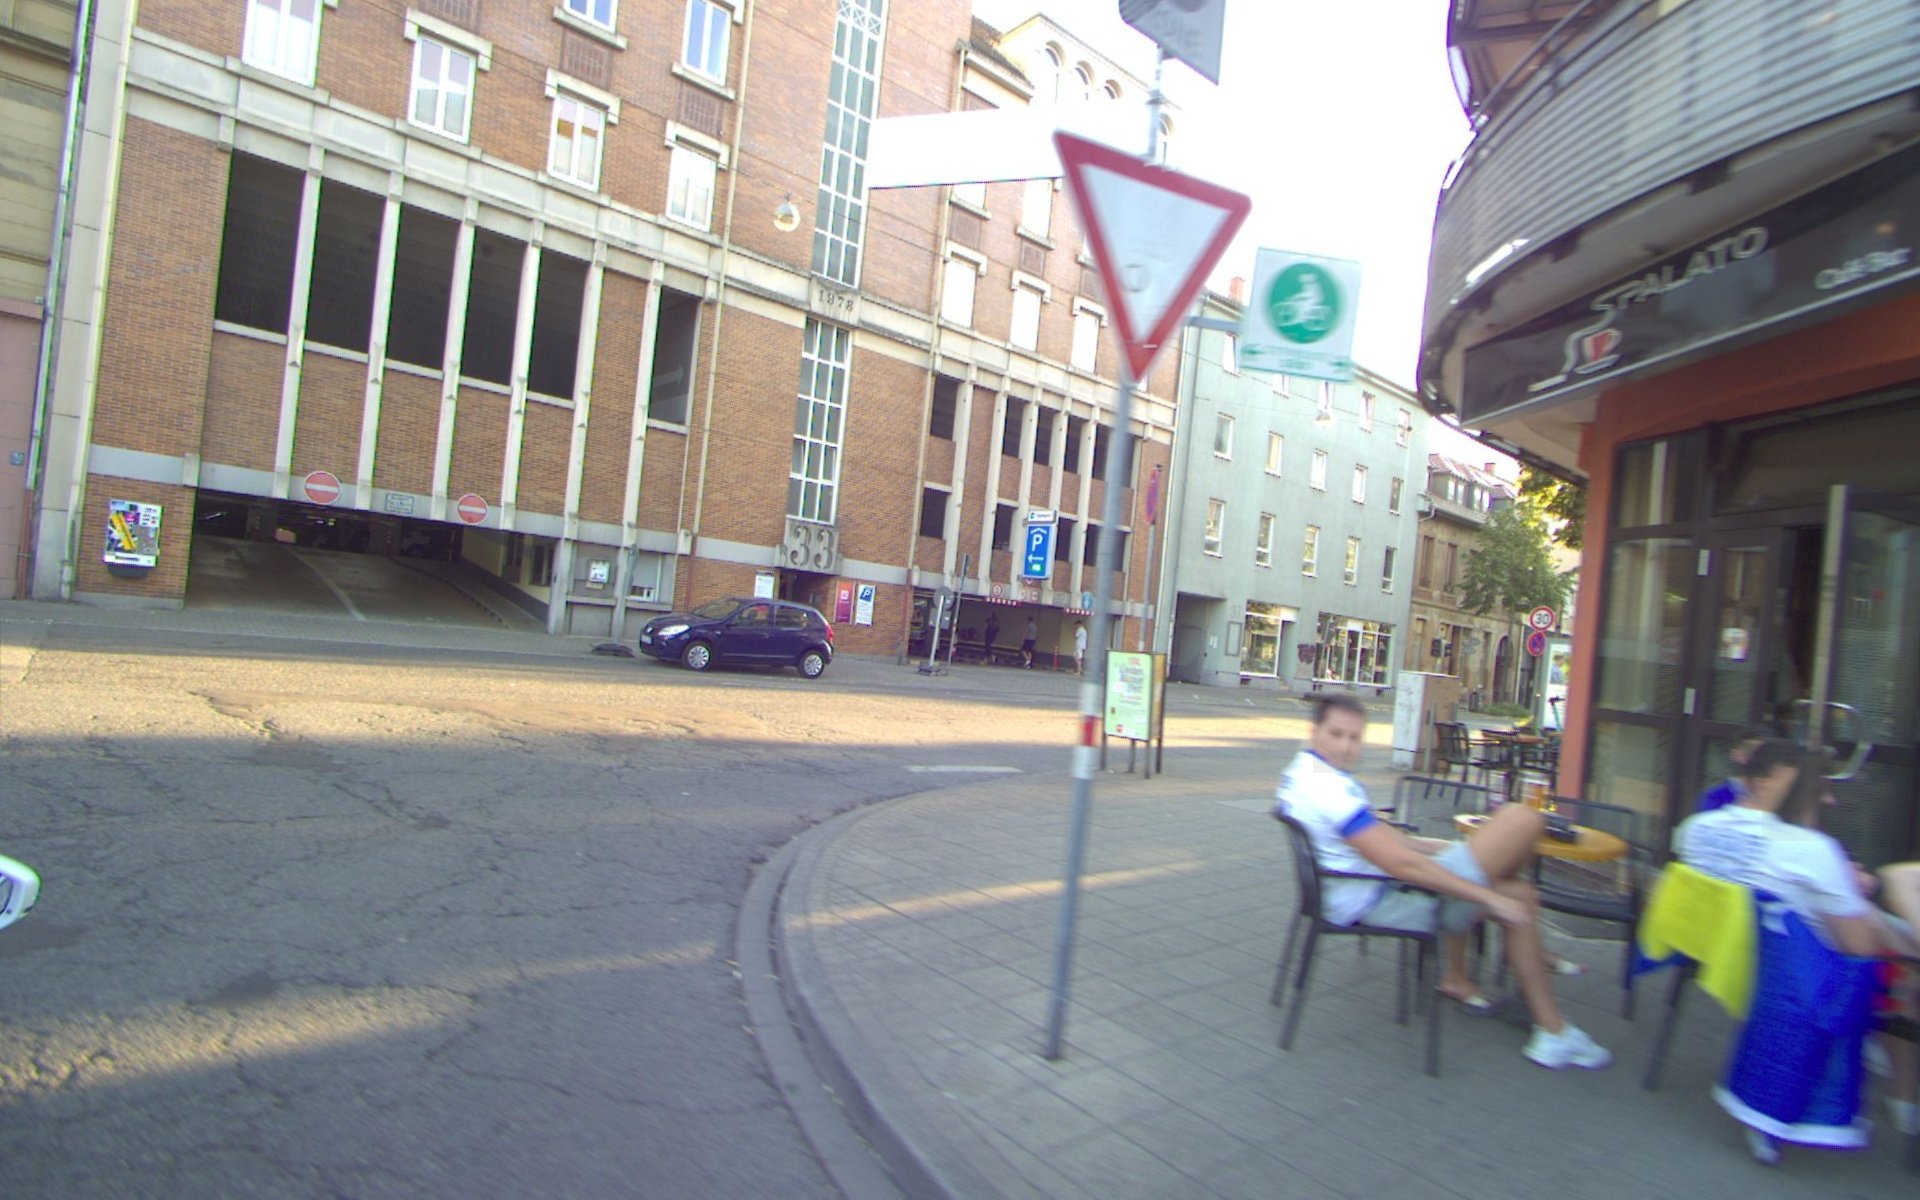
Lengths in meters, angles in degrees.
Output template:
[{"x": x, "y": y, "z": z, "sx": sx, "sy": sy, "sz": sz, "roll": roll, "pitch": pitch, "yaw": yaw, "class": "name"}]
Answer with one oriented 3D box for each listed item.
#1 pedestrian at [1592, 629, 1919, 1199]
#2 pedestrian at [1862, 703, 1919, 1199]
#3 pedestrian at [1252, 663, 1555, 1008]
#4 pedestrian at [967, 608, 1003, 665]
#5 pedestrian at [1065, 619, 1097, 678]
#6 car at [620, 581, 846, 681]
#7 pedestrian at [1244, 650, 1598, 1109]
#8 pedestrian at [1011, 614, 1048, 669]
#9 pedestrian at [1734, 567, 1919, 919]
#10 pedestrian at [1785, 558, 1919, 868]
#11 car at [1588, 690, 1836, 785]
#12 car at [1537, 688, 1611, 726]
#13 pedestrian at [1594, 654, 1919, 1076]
[{"x": 2.580, "y": 0.923, "z": 3.201, "sx": 0.680, "sy": 1.555, "sz": 0.710, "roll": 7, "pitch": 1, "yaw": 44, "class": "pedestrian"}, {"x": 3.147, "y": 0.990, "z": 2.662, "sx": 0.838, "sy": 1.557, "sz": 0.712, "roll": 6, "pitch": 4, "yaw": 28, "class": "pedestrian"}, {"x": 1.887, "y": 0.970, "z": 4.402, "sx": 0.949, "sy": 1.297, "sz": 0.686, "roll": 4, "pitch": 0, "yaw": 2, "class": "pedestrian"}, {"x": 0.857, "y": 1.256, "z": 34.790, "sx": 0.881, "sy": 1.855, "sz": 0.636, "roll": 6, "pitch": 0, "yaw": 28, "class": "pedestrian"}, {"x": 3.936, "y": 1.580, "z": 32.723, "sx": 0.668, "sy": 1.850, "sz": 0.674, "roll": 6, "pitch": 0, "yaw": 28, "class": "pedestrian"}, {"x": -4.624, "y": 0.665, "z": 20.730, "sx": 3.970, "sy": 1.538, "sz": 1.979, "roll": 8, "pitch": -1, "yaw": -39, "class": "car"}, {"x": 1.603, "y": 0.926, "z": 3.652, "sx": 0.823, "sy": 1.399, "sz": 0.771, "roll": 5, "pitch": 0, "yaw": 1, "class": "pedestrian"}, {"x": 2.347, "y": 1.408, "z": 33.979, "sx": 0.881, "sy": 1.771, "sz": 0.674, "roll": 6, "pitch": 0, "yaw": 28, "class": "pedestrian"}, {"x": 5.674, "y": 0.869, "z": 6.515, "sx": 0.843, "sy": 2.038, "sz": 0.907, "roll": 6, "pitch": 0, "yaw": 41, "class": "pedestrian"}, {"x": 6.502, "y": 0.781, "z": 7.123, "sx": 0.850, "sy": 2.038, "sz": 0.811, "roll": 6, "pitch": -1, "yaw": 42, "class": "pedestrian"}, {"x": 17.875, "y": 3.220, "z": 24.096, "sx": 1.804, "sy": 1.560, "sz": 4.396, "roll": 7, "pitch": -2, "yaw": -40, "class": "car"}, {"x": 30.943, "y": 5.402, "z": 50.700, "sx": 3.971, "sy": 1.570, "sz": 1.978, "roll": 7, "pitch": -2, "yaw": -41, "class": "car"}, {"x": 3.417, "y": 1.059, "z": 4.271, "sx": 0.838, "sy": 1.554, "sz": 0.714, "roll": 7, "pitch": -1, "yaw": -8, "class": "pedestrian"}]
